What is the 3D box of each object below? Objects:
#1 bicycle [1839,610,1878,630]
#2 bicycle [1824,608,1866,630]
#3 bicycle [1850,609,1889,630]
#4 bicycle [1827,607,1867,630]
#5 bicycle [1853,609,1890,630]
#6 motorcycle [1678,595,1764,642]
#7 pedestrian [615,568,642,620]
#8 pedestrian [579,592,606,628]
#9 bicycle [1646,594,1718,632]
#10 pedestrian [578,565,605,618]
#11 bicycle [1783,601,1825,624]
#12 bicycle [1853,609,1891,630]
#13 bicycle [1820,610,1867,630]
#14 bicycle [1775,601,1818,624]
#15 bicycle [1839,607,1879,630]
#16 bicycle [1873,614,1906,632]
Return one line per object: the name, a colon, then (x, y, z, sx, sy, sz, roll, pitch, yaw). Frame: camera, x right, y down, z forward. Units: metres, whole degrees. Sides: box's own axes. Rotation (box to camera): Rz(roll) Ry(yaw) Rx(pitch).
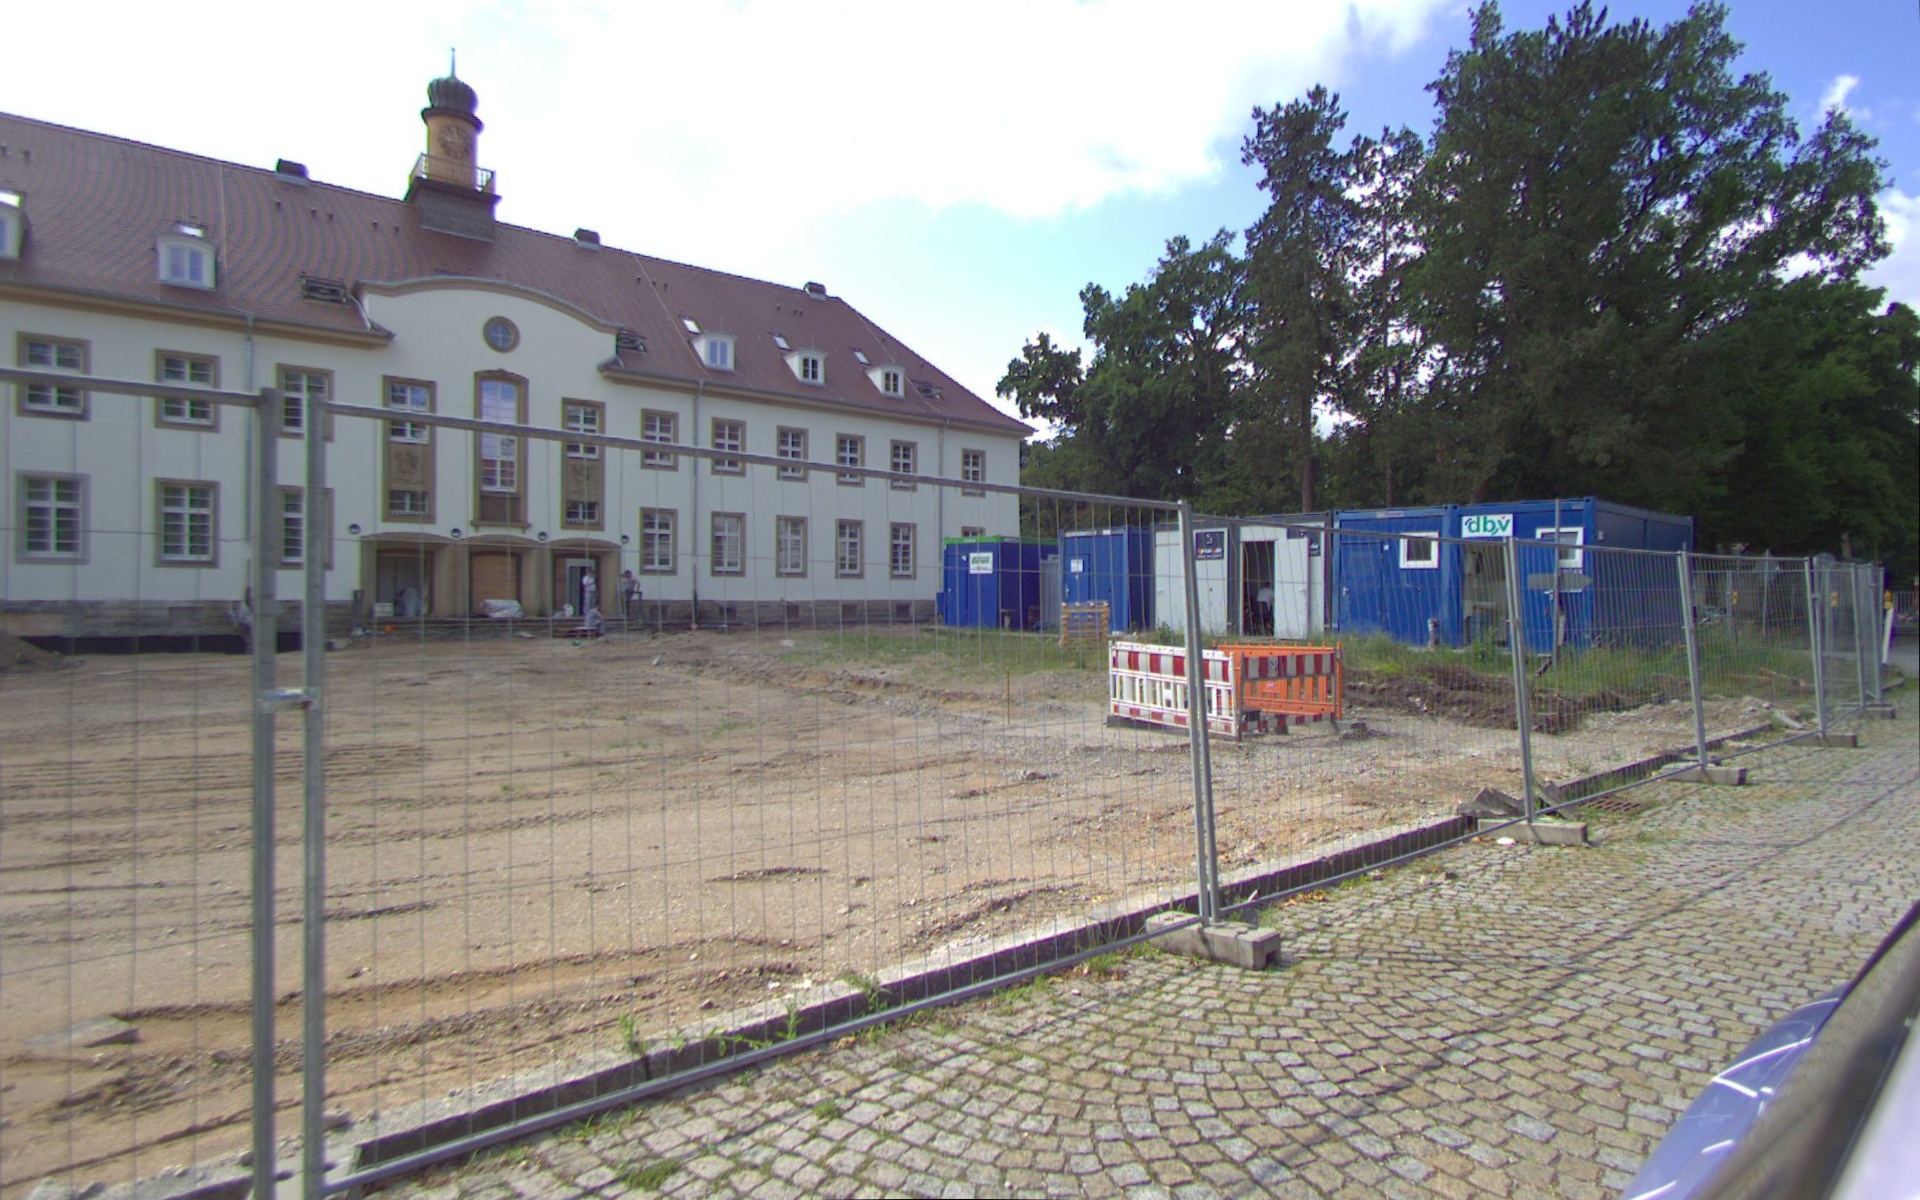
bicycle: (51.484, 1.133, 58.014, 1.626, 1.063, 0.330, 3, 1, 37)
bicycle: (47.866, 1.015, 54.741, 1.672, 1.122, 0.334, 3, 1, 38)
bicycle: (53.033, 1.121, 59.019, 1.613, 1.155, 0.320, 3, 1, 44)
bicycle: (49.212, 1.021, 56.158, 1.626, 1.204, 0.467, 3, 1, 38)
bicycle: (53.728, 1.140, 59.668, 1.613, 1.155, 0.350, 3, 1, 44)
motorcycle: (26.145, 0.613, 34.792, 0.744, 1.504, 2.278, 1, 0, -44)
pedestrian: (-12.004, -0.211, 36.662, 0.636, 1.858, 0.876, 0, 0, -42)
pedestrian: (-12.599, 0.347, 34.683, 0.709, 1.225, 0.669, 0, 0, -39)
bicycle: (23.990, 0.411, 33.664, 0.642, 1.212, 1.909, 1, 0, -20)
pedestrian: (-13.157, -0.292, 36.116, 0.722, 1.858, 0.646, 0, -1, -41)
bicycle: (47.590, 0.689, 57.099, 0.598, 1.179, 1.743, 1, 1, -43)
bicycle: (53.434, 1.127, 59.300, 1.613, 1.155, 0.320, 3, 1, 44)
bicycle: (48.365, 1.104, 55.398, 1.725, 0.988, 0.753, 2, 1, 21)
bicycle: (46.730, 0.692, 56.556, 0.598, 1.179, 1.743, 1, 1, -43)
bicycle: (51.120, 1.037, 57.584, 1.627, 1.204, 0.492, 3, 1, 39)
bicycle: (55.356, 1.345, 60.262, 1.391, 1.059, 0.336, 0, 0, 25)
